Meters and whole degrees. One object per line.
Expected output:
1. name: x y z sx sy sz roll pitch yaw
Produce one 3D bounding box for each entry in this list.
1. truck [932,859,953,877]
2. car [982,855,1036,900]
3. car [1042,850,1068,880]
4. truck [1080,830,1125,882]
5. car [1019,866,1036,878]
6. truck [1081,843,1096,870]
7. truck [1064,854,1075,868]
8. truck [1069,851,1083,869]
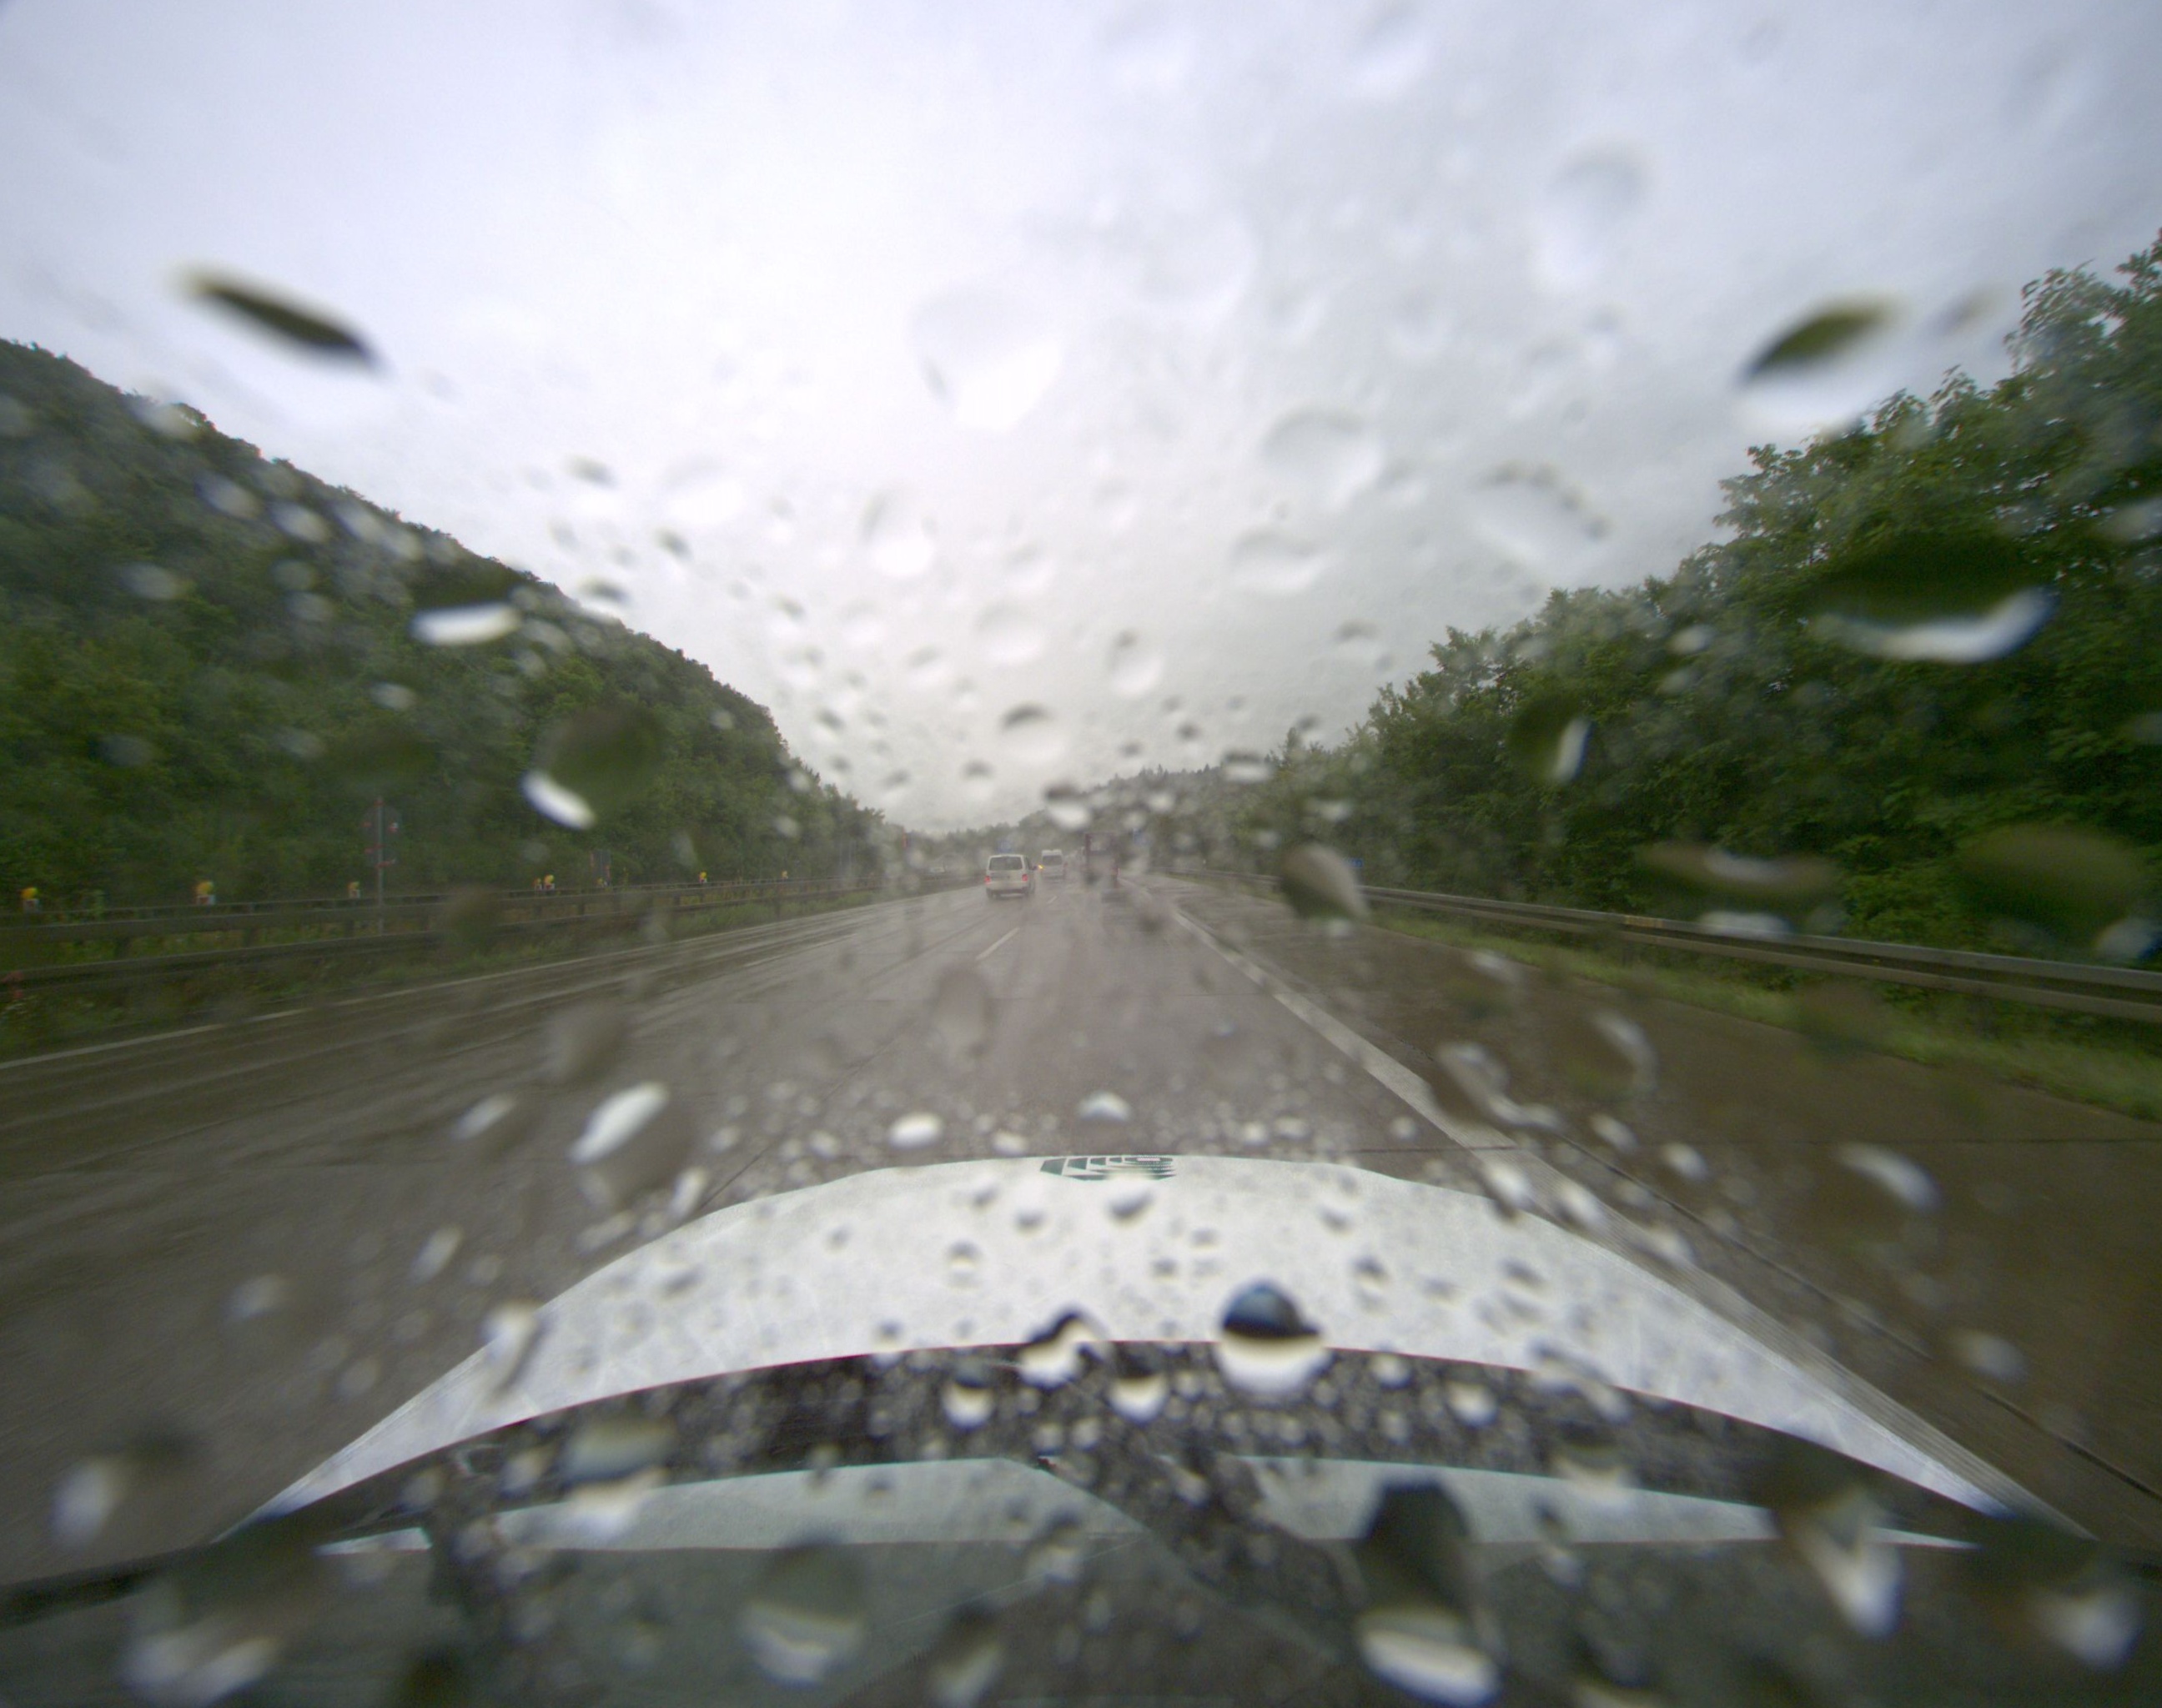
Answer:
1. truck: -24.398 2.485 143.831 2.289 3.019 7.924 -1 0 1
2. car: -3.177 1.008 37.070 1.893 1.894 5.043 -1 -1 1
3. car: -2.140 0.897 66.006 1.896 2.334 5.243 -1 0 -4
4. truck: 1.791 0.079 69.695 3.373 3.968 8.668 -3 1 1
5. car: -6.068 2.048 92.776 1.735 1.388 4.320 0 -1 -1
6. truck: 1.119 0.429 119.185 1.987 3.806 6.733 -1 -1 1
7. truck: -2.631 1.560 185.907 1.991 3.170 6.719 -1 -1 -6
8. truck: -0.977 1.162 154.223 1.991 3.170 6.719 -1 -1 -6
